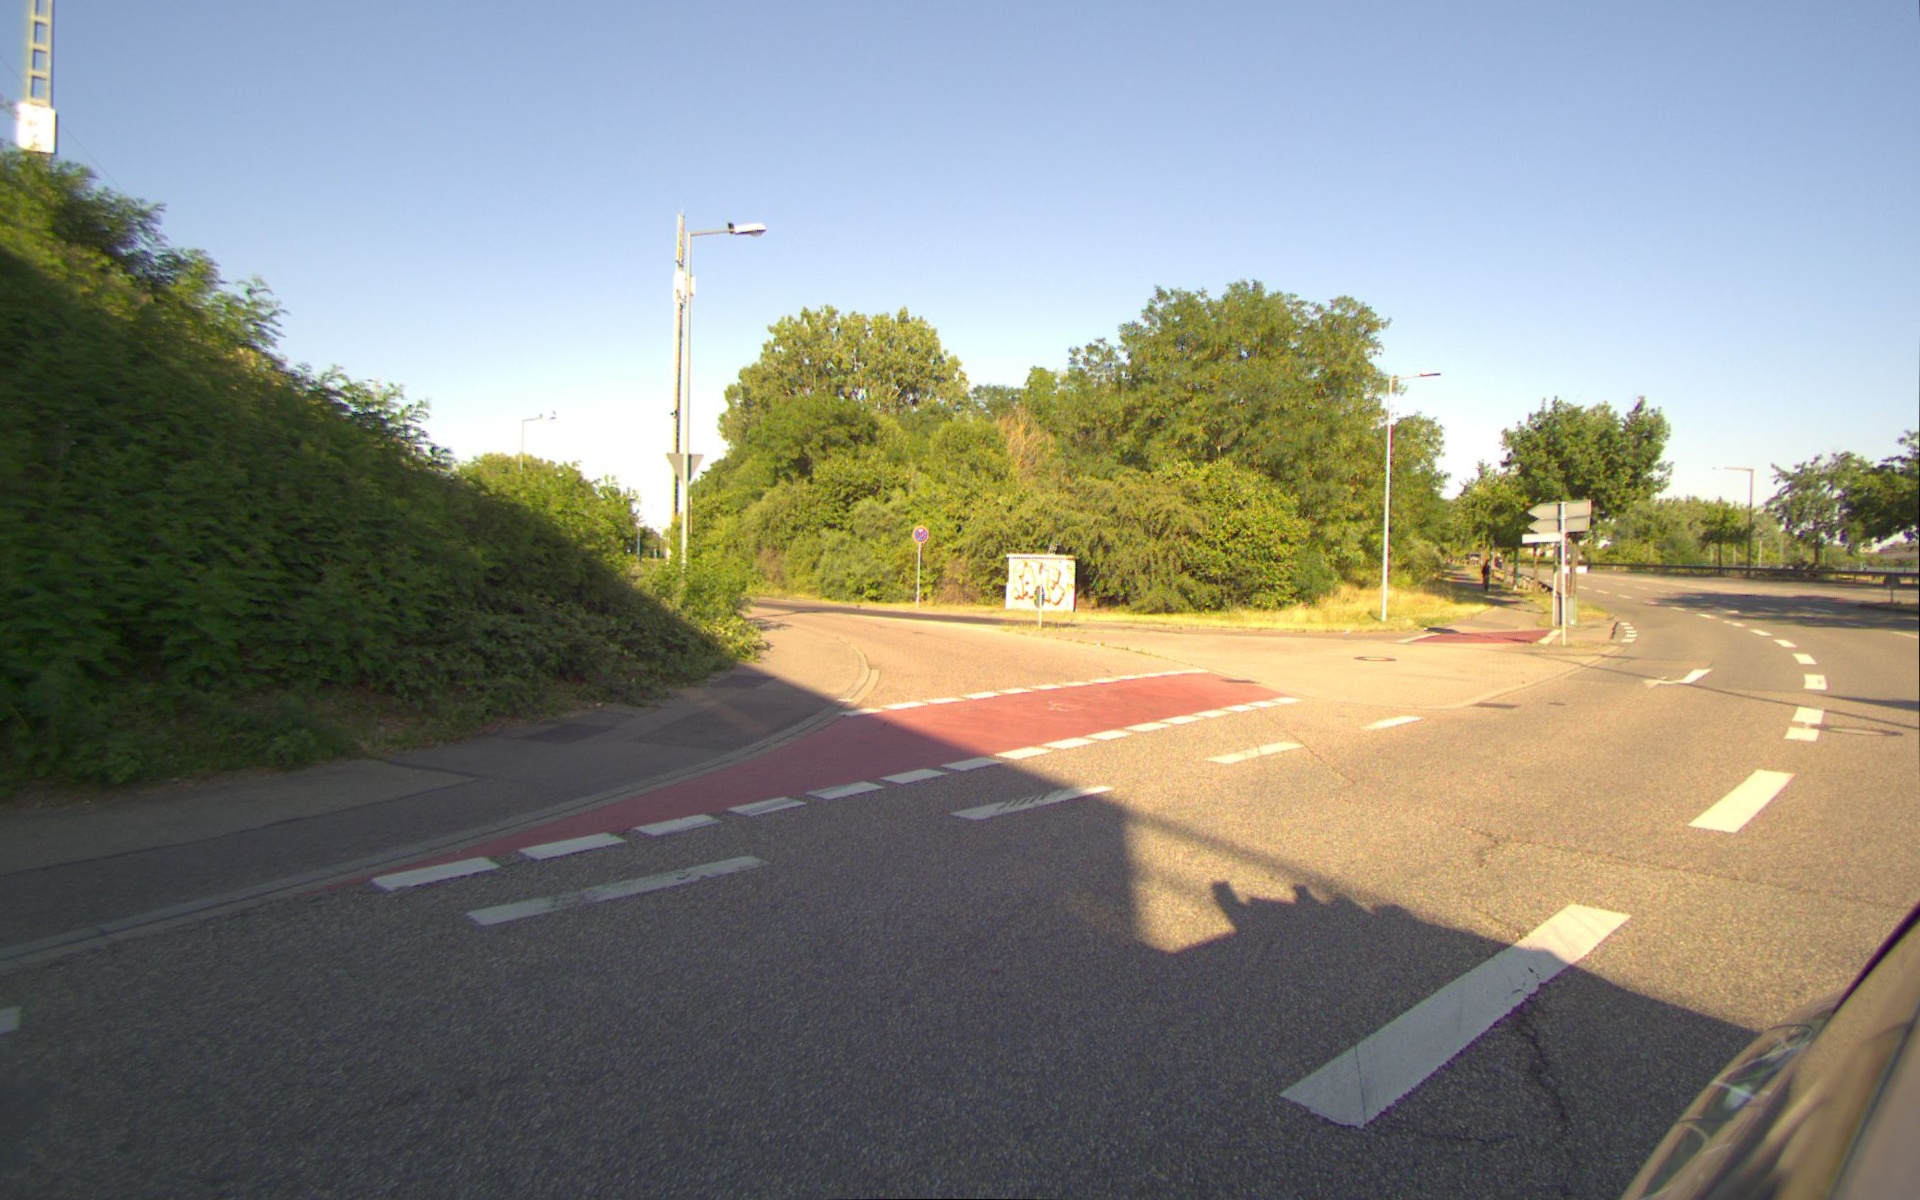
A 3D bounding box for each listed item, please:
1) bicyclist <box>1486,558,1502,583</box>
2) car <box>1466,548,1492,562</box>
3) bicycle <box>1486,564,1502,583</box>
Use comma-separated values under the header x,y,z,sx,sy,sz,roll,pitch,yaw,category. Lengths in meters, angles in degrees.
x,y,z,sx,sy,sz,roll,pitch,yaw,category
31.771,-1.732,60.255,0.836,1.439,1.103,0,0,28,bicyclist
69.012,-5.975,134.661,1.969,1.794,3.987,0,1,11,car
31.716,-1.554,60.110,0.775,1.070,2.473,0,1,27,bicycle
